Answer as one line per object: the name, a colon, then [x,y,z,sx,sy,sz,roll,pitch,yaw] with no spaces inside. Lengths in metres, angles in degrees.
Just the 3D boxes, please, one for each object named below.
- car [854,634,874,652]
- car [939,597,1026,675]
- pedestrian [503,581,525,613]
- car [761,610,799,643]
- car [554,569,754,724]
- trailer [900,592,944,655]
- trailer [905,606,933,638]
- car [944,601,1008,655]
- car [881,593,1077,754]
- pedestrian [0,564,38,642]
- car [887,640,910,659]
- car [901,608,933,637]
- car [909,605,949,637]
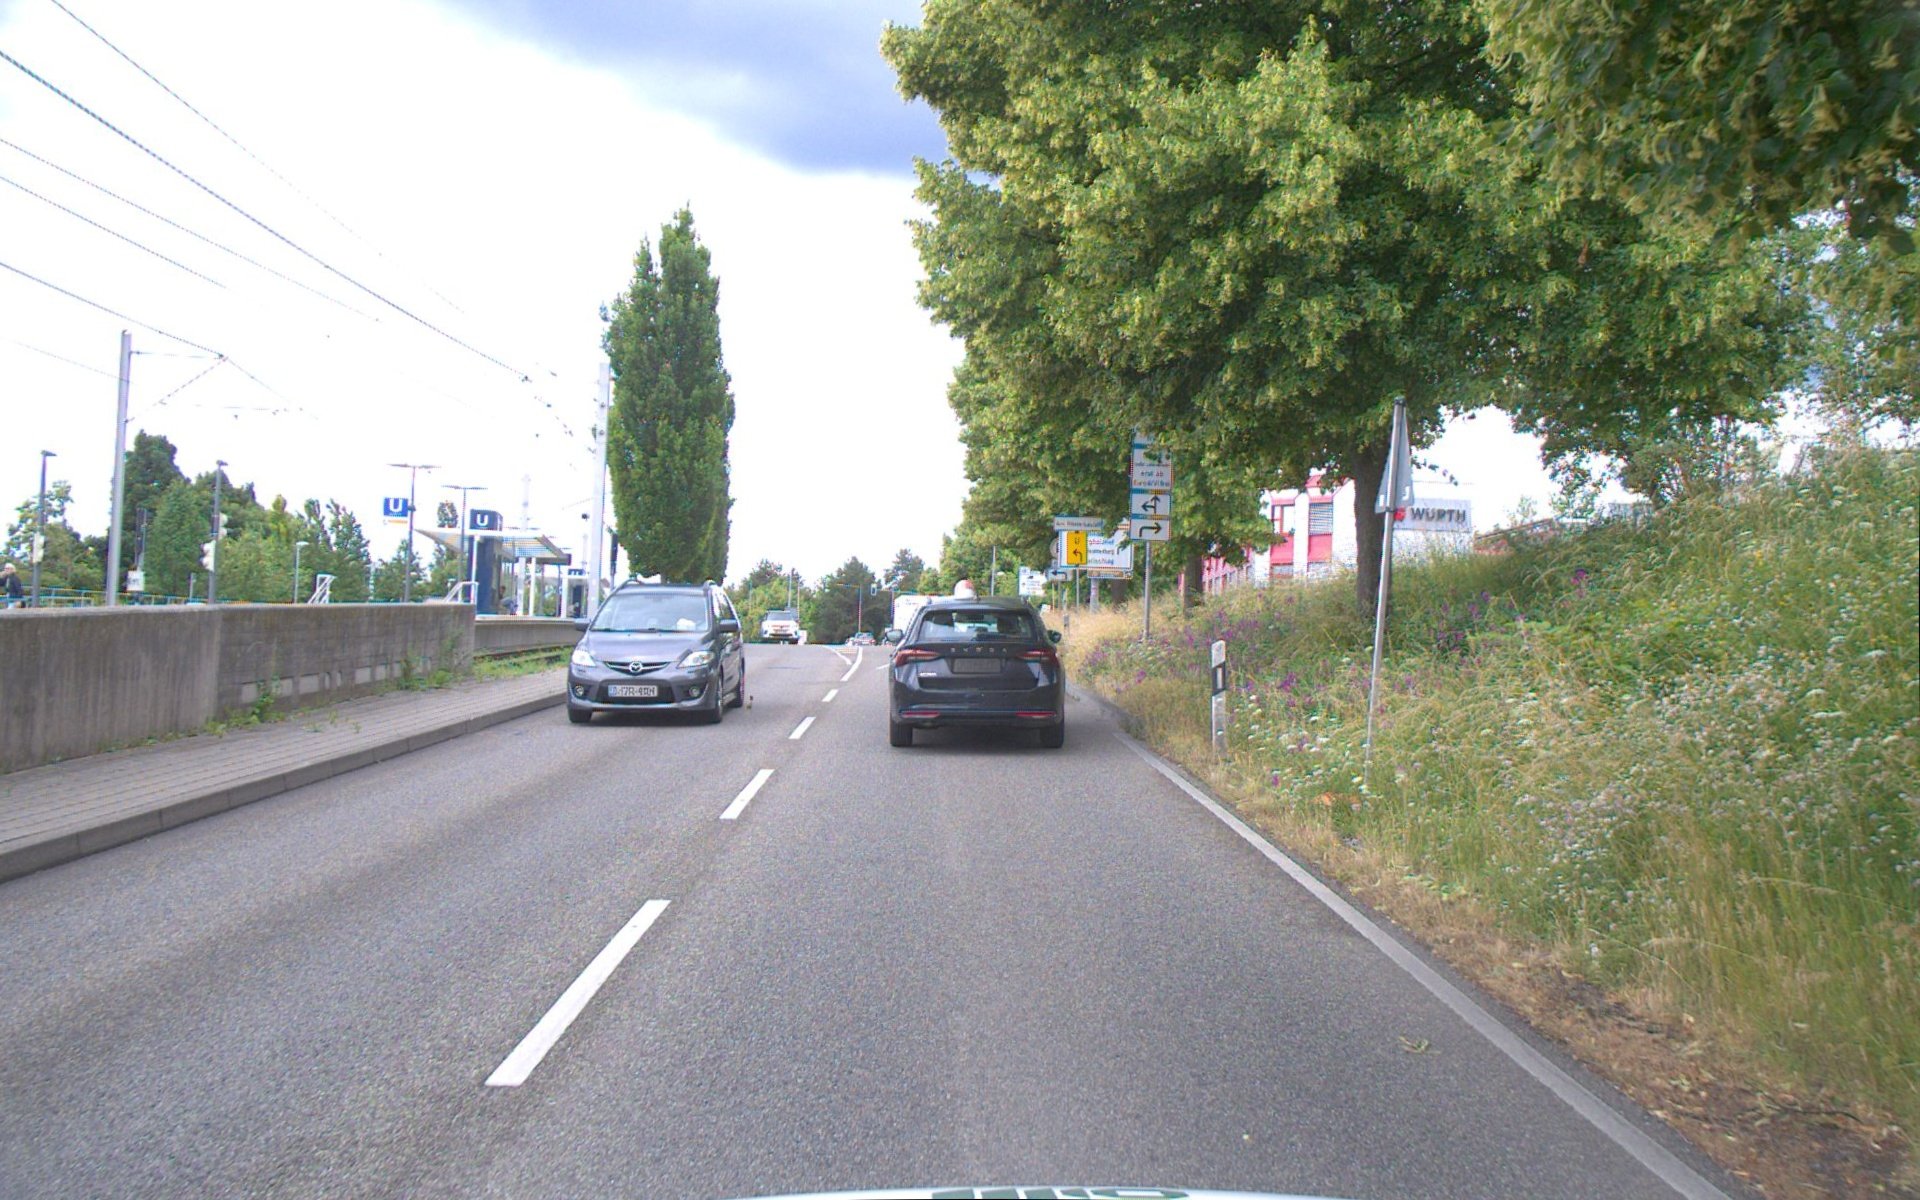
car: [-7.504,3.362,129.684,1.495,1.378,3.487,1,0,-4]
car: [0.416,0.706,33.734,1.590,1.483,3.687,1,0,-2]
pedestrian: [-17.517,-0.105,65.002,0.747,1.220,0.664,1,-2,-8]
car: [-8.663,1.251,79.799,1.682,1.548,3.741,1,0,-4]
car: [-3.637,0.509,20.379,1.786,1.686,4.244,1,0,-2]
trailer: [-2.748,1.732,117.207,2.516,3.772,7.751,1,-6,-6]
trailer: [-2.198,1.181,88.324,1.381,1.622,3.300,1,-2,-3]
car: [0.428,0.827,48.221,1.684,1.483,3.694,1,-1,-2]
car: [0.279,0.667,17.412,1.797,1.457,4.280,1,0,3]
pedestrian: [-20.164,0.064,35.394,0.497,1.653,0.645,1,-1,-2]
car: [-4.898,3.891,131.212,1.775,1.378,4.116,2,-1,-2]
car: [-2.418,1.257,92.231,1.638,1.473,4.485,1,-2,-3]
car: [-1.557,1.031,81.511,1.665,1.512,3.996,2,0,-5]
